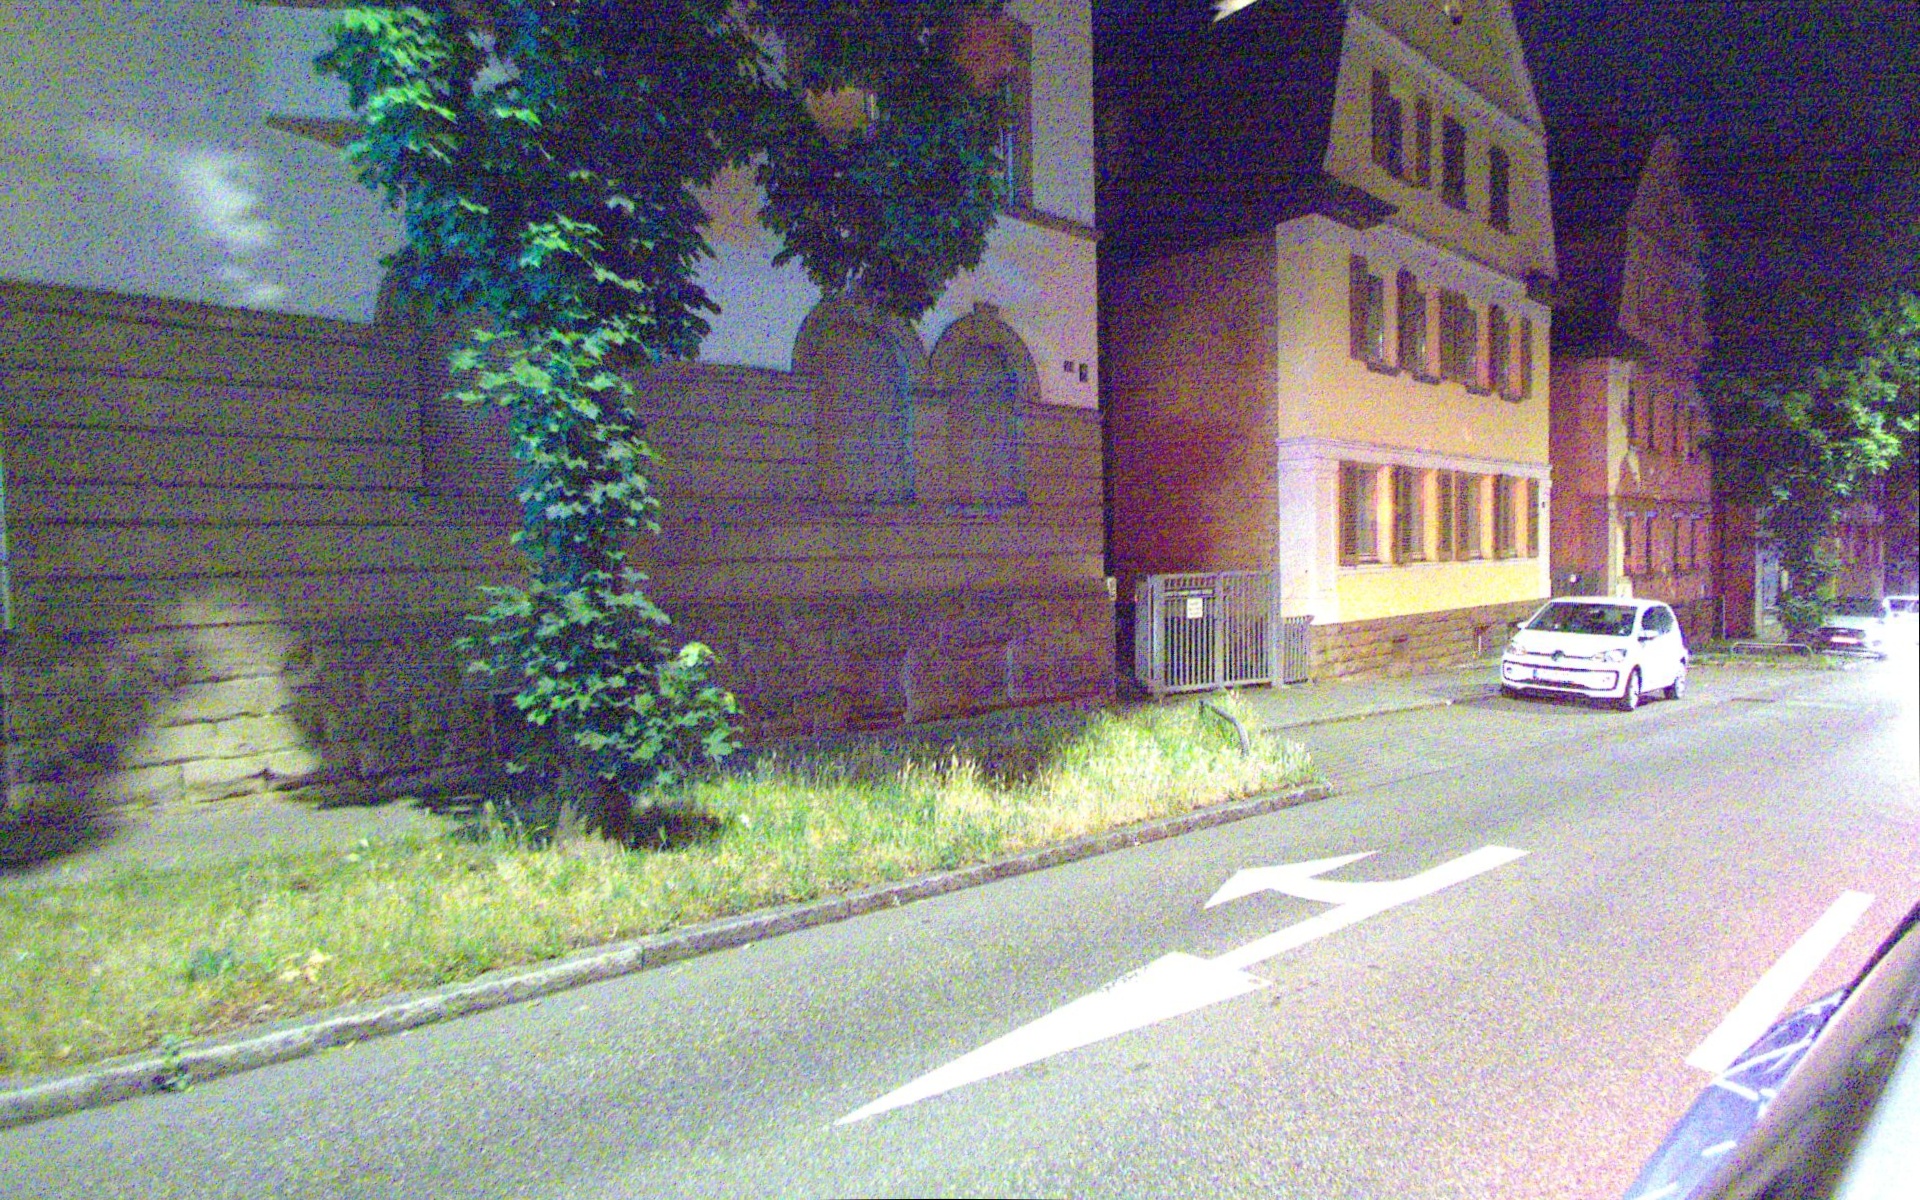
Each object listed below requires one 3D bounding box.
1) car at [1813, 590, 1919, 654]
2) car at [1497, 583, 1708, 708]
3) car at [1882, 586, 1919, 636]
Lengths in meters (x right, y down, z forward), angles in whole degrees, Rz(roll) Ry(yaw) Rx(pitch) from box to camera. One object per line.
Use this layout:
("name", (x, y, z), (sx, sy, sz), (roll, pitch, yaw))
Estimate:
("car", (23.613, 0.504, 26.277), (3.824, 1.516, 1.740), (0, 2, -43))
("car", (9.285, 0.567, 14.541), (3.425, 1.527, 1.610), (0, 2, -41))
("car", (33.537, 0.363, 35.134), (4.107, 1.673, 1.850), (0, 0, -42))
